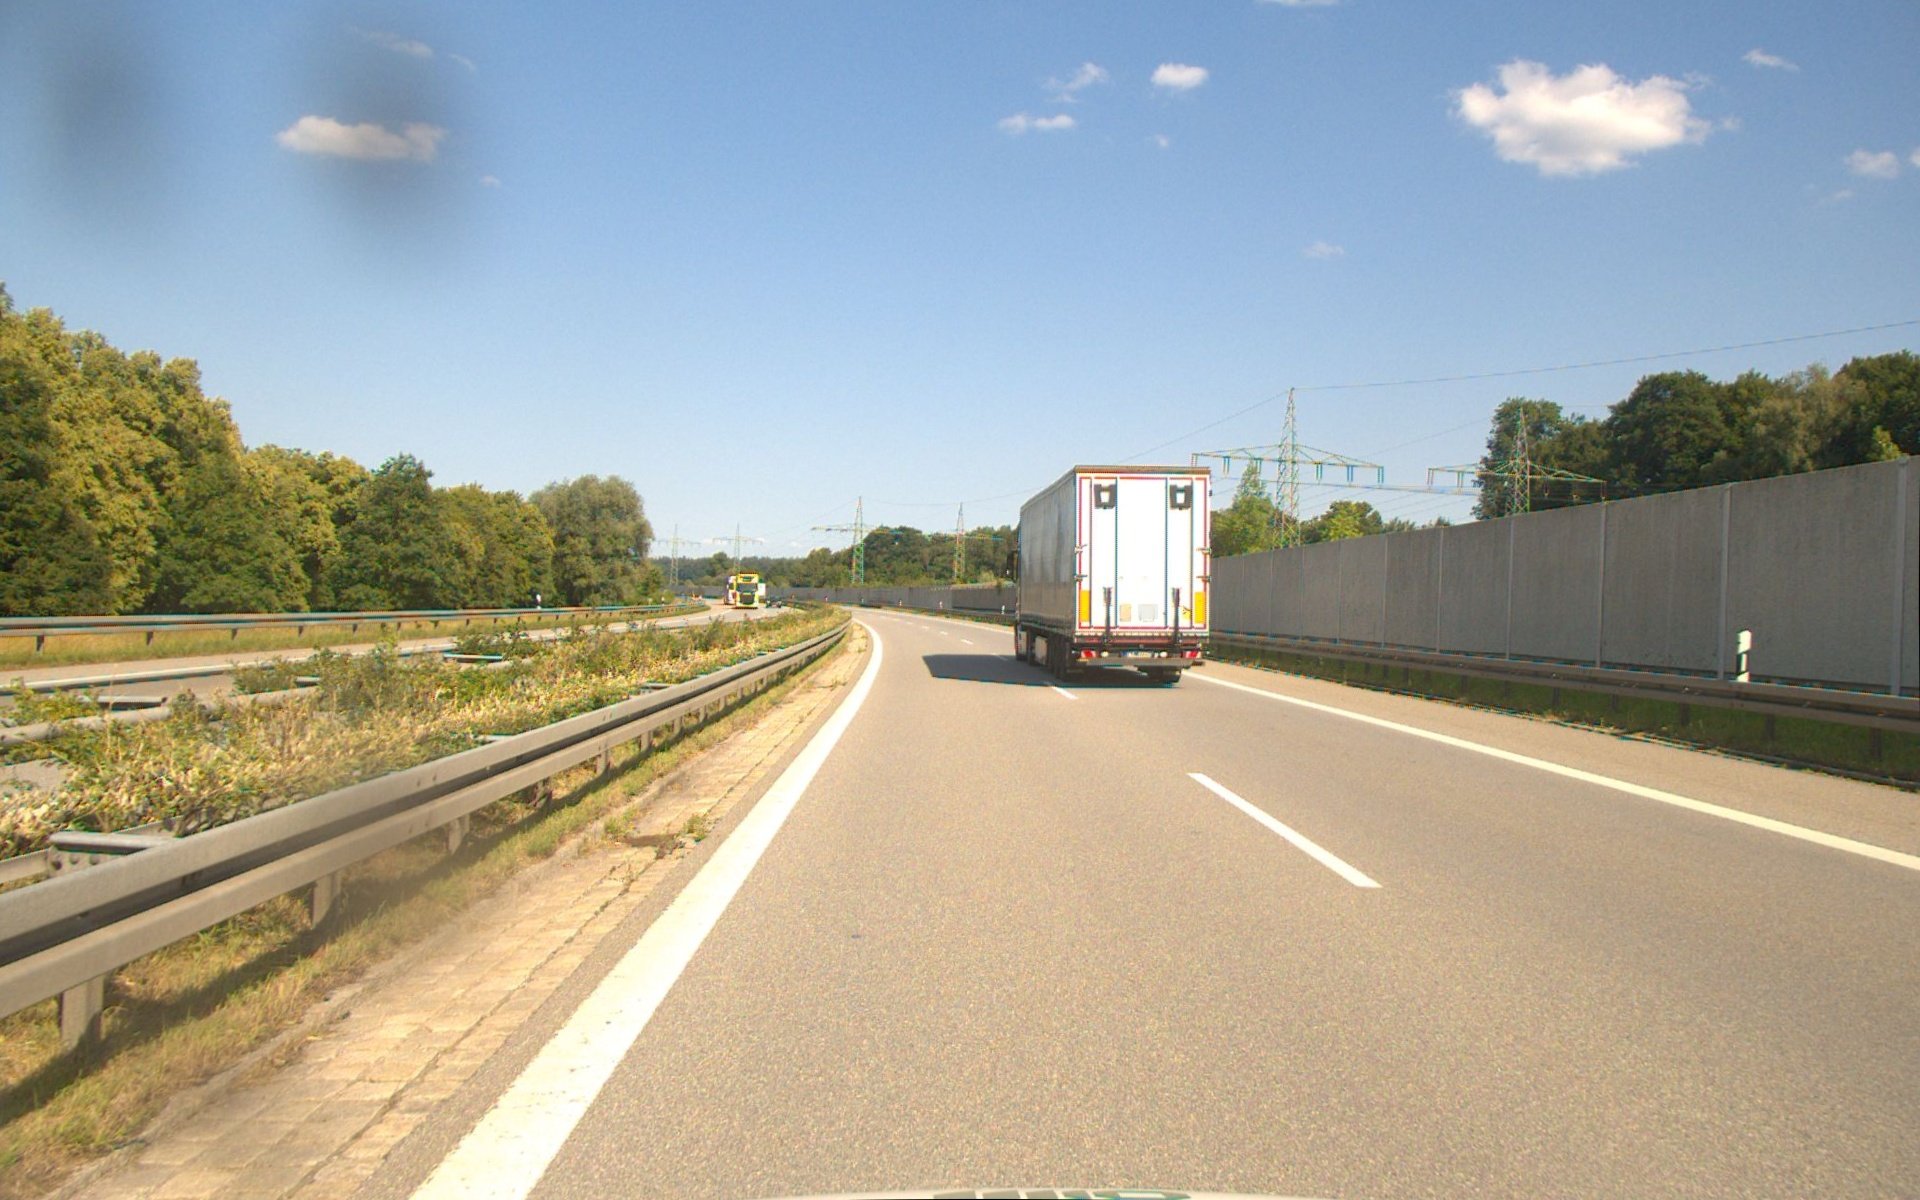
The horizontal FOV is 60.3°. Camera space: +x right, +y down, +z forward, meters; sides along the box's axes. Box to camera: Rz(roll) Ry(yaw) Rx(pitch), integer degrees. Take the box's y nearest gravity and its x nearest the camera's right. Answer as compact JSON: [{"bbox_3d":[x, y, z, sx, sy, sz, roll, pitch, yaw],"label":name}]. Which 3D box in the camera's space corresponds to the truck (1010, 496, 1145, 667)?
[{"bbox_3d":[2.907,-0.428,42.870,2.773,4.082,6.583,0,0,-2],"label":"truck"}]

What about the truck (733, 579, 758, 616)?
[{"bbox_3d":[-24.059,-0.250,185.752,2.706,3.976,8.756,-1,0,-7],"label":"truck"}]

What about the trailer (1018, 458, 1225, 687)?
[{"bbox_3d":[3.143,-0.467,36.158,2.826,4.137,12.414,0,0,-2],"label":"trailer"}]

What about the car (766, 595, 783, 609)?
[{"bbox_3d":[-22.917,0.252,204.414,1.956,1.700,3.993,0,0,-8],"label":"car"}]
